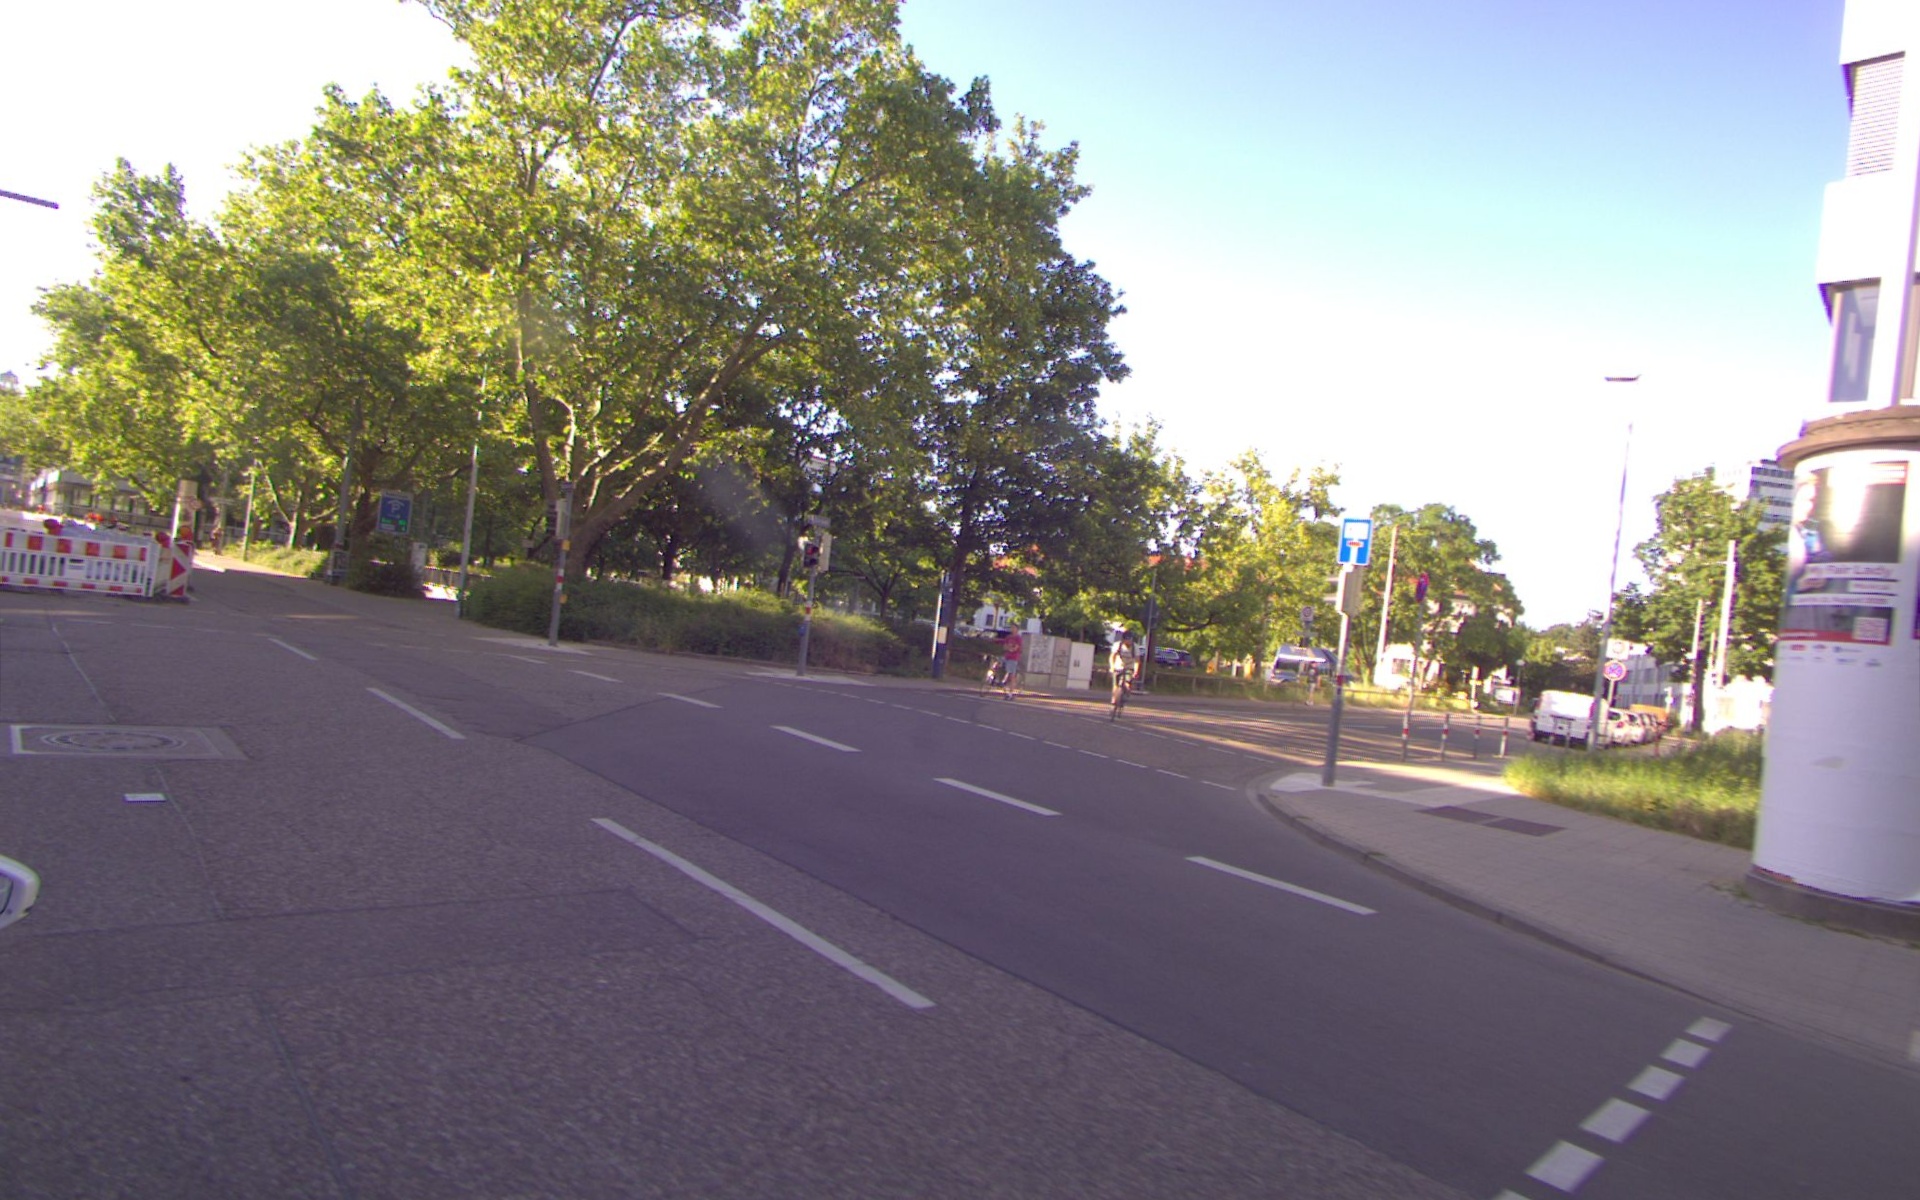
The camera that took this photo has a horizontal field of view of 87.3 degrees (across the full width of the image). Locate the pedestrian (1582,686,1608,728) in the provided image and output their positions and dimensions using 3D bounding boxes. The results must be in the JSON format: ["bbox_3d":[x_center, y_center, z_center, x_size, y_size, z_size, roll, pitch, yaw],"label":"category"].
[{"bbox_3d":[54.204,9.137,85.911,1.434,3.348,1.406,7,-1,26],"label":"pedestrian"}]

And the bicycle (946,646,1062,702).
[{"bbox_3d":[1.065,1.747,23.459,0.930,1.050,2.993,6,-2,42],"label":"bicycle"}]

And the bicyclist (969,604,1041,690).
[{"bbox_3d":[1.043,1.093,23.327,0.965,1.829,1.126,6,-1,43],"label":"bicyclist"}]

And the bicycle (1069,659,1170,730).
[{"bbox_3d":[3.130,1.856,20.133,0.967,1.064,2.654,7,-1,-13],"label":"bicycle"}]

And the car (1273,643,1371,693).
[{"bbox_3d":[19.849,3.726,55.257,4.500,2.138,1.993,6,-2,39],"label":"car"}]

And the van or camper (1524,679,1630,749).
[{"bbox_3d":[22.029,4.074,35.812,2.134,2.037,4.952,7,-1,43],"label":"van or camper"}]

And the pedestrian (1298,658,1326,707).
[{"bbox_3d":[14.315,3.371,40.932,0.657,1.877,1.023,6,-1,34],"label":"pedestrian"}]

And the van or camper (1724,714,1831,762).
[{"bbox_3d":[49.177,8.286,60.646,4.656,2.111,1.996,6,-1,34],"label":"van or camper"}]

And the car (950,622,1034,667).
[{"bbox_3d":[1.647,2.323,52.739,1.989,1.800,3.950,8,-2,-44],"label":"car"}]

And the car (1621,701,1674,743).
[{"bbox_3d":[41.225,7.318,60.305,1.973,2.036,3.985,6,-3,42],"label":"car"}]

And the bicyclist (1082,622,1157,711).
[{"bbox_3d":[3.174,1.310,20.115,0.938,1.565,1.123,7,1,-13],"label":"bicyclist"}]

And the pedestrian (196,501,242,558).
[{"bbox_3d":[-38.628,-3.668,52.491,1.404,2.699,1.143,7,-1,-20],"label":"pedestrian"}]

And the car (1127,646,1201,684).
[{"bbox_3d":[12.644,4.046,62.426,1.989,1.800,3.950,8,-2,-44],"label":"car"}]

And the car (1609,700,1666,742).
[{"bbox_3d":[38.361,6.850,56.928,1.973,2.037,3.982,6,-2,42],"label":"car"}]
